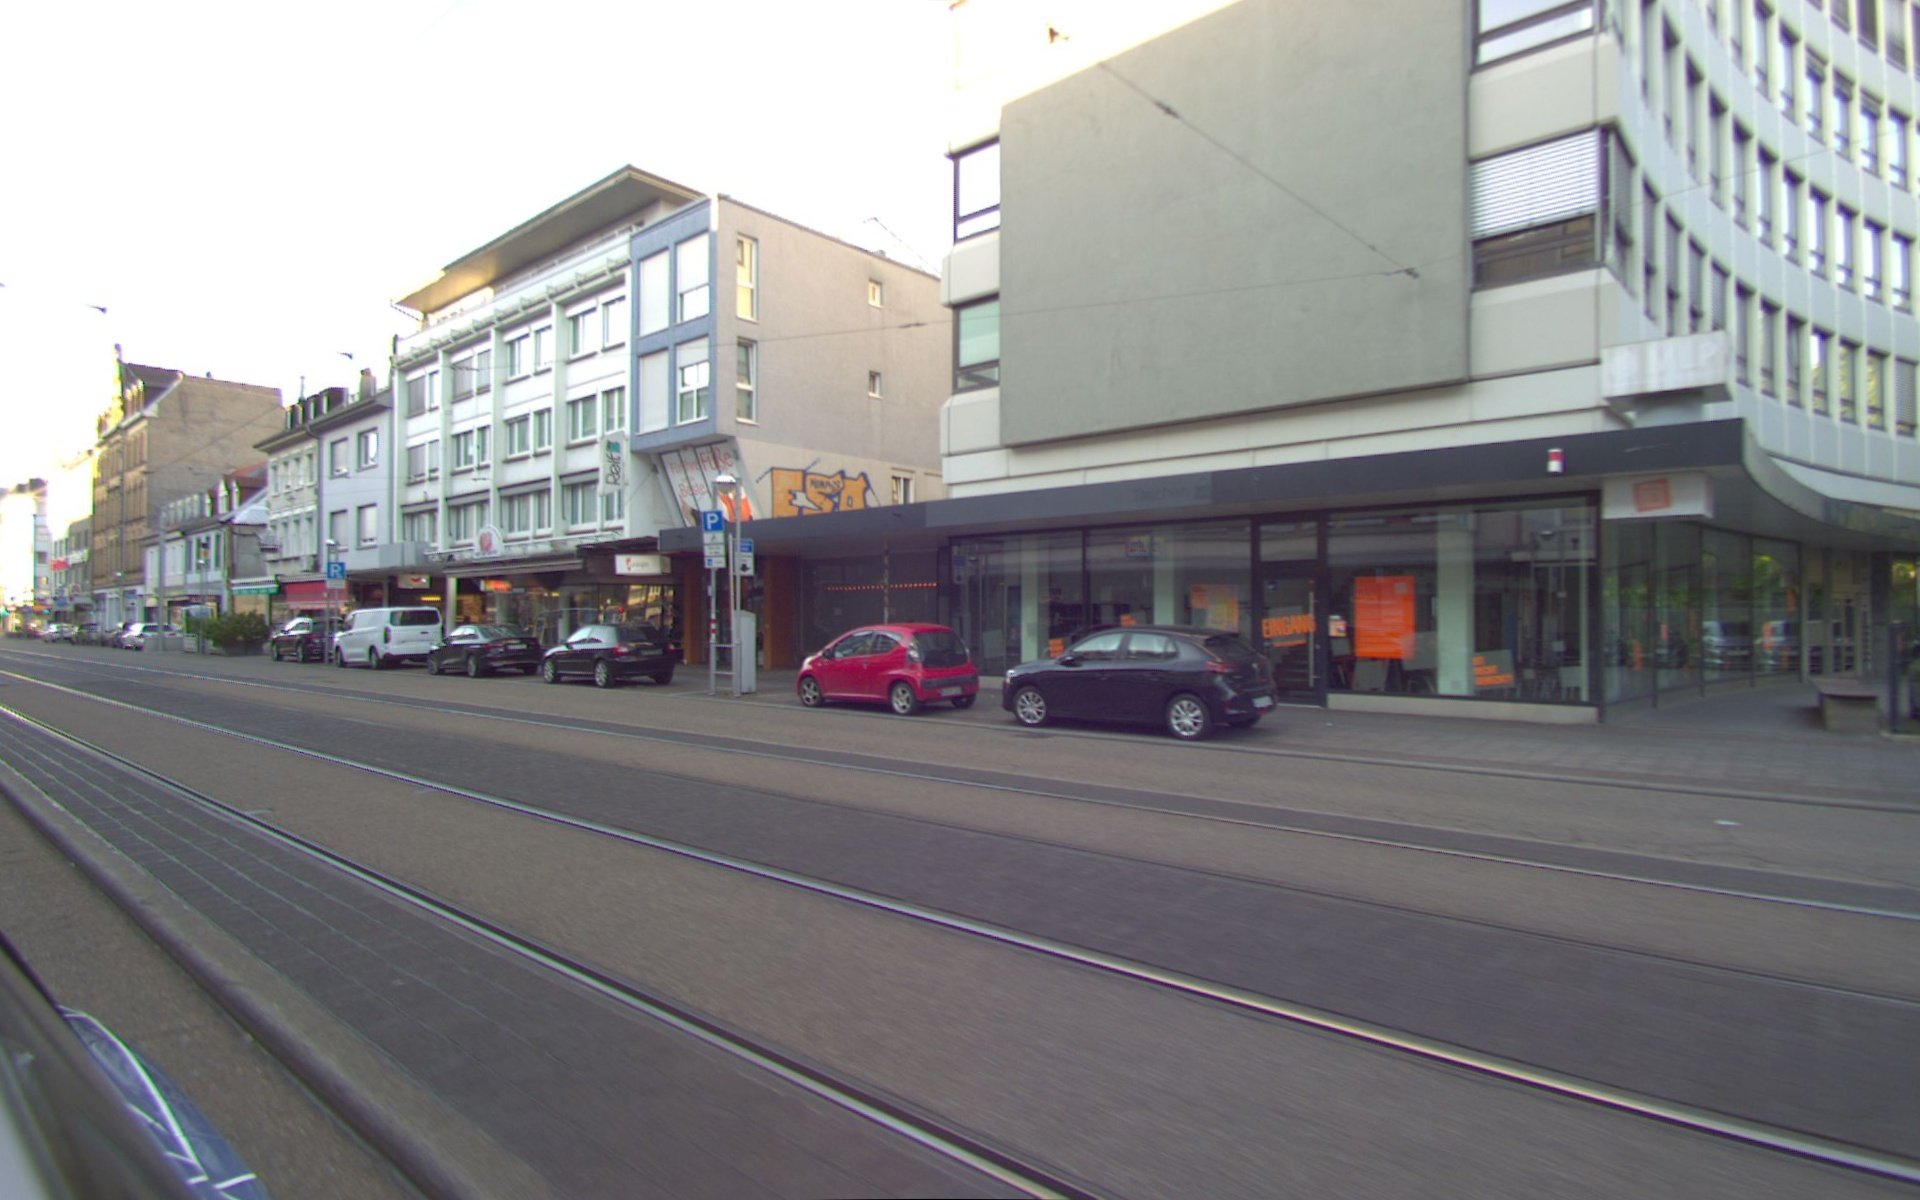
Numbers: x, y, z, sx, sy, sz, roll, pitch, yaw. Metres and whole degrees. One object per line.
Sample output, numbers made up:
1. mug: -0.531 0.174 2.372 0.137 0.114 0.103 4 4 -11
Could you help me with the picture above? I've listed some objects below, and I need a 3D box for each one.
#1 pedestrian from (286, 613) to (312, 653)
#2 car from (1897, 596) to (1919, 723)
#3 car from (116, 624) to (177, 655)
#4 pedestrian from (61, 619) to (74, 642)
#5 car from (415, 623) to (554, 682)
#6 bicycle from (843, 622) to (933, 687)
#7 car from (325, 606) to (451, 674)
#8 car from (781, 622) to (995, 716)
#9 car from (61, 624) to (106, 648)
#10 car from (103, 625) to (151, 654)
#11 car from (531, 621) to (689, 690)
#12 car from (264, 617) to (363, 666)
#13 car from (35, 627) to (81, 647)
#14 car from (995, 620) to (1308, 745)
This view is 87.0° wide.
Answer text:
1. pedestrian: -30.476 1.530 46.654 0.818 1.795 0.809 -1 0 41
2. car: 13.346 0.756 12.778 1.912 1.564 3.948 -1 0 39
3. car: -45.131 2.152 56.090 4.621 1.568 1.871 -1 0 41
4. pedestrian: -78.322 2.672 88.823 0.738 2.029 1.049 -1 0 -45
5. car: -13.387 1.399 28.371 4.569 1.437 1.852 -1 0 41
6. bicycle: -1.640 1.228 23.284 0.875 1.350 2.025 -1 0 41
7. car: -18.920 1.255 33.362 5.096 2.029 1.944 -1 0 40
8. car: -1.308 1.122 17.529 3.590 1.445 1.674 -1 -1 41
9. car: -60.486 2.474 69.820 3.814 1.504 1.822 -1 0 42
10. car: -48.876 2.271 59.344 3.469 1.582 1.638 -1 0 41
11. car: -8.309 1.251 23.872 4.090 1.472 1.771 -1 -2 42
12. car: -24.601 1.516 38.458 4.586 1.710 1.973 -1 0 41
13. car: -69.404 2.837 77.850 4.399 1.431 1.974 -1 0 39
14. car: 2.565 1.048 14.102 3.963 1.436 1.674 -2 0 41
